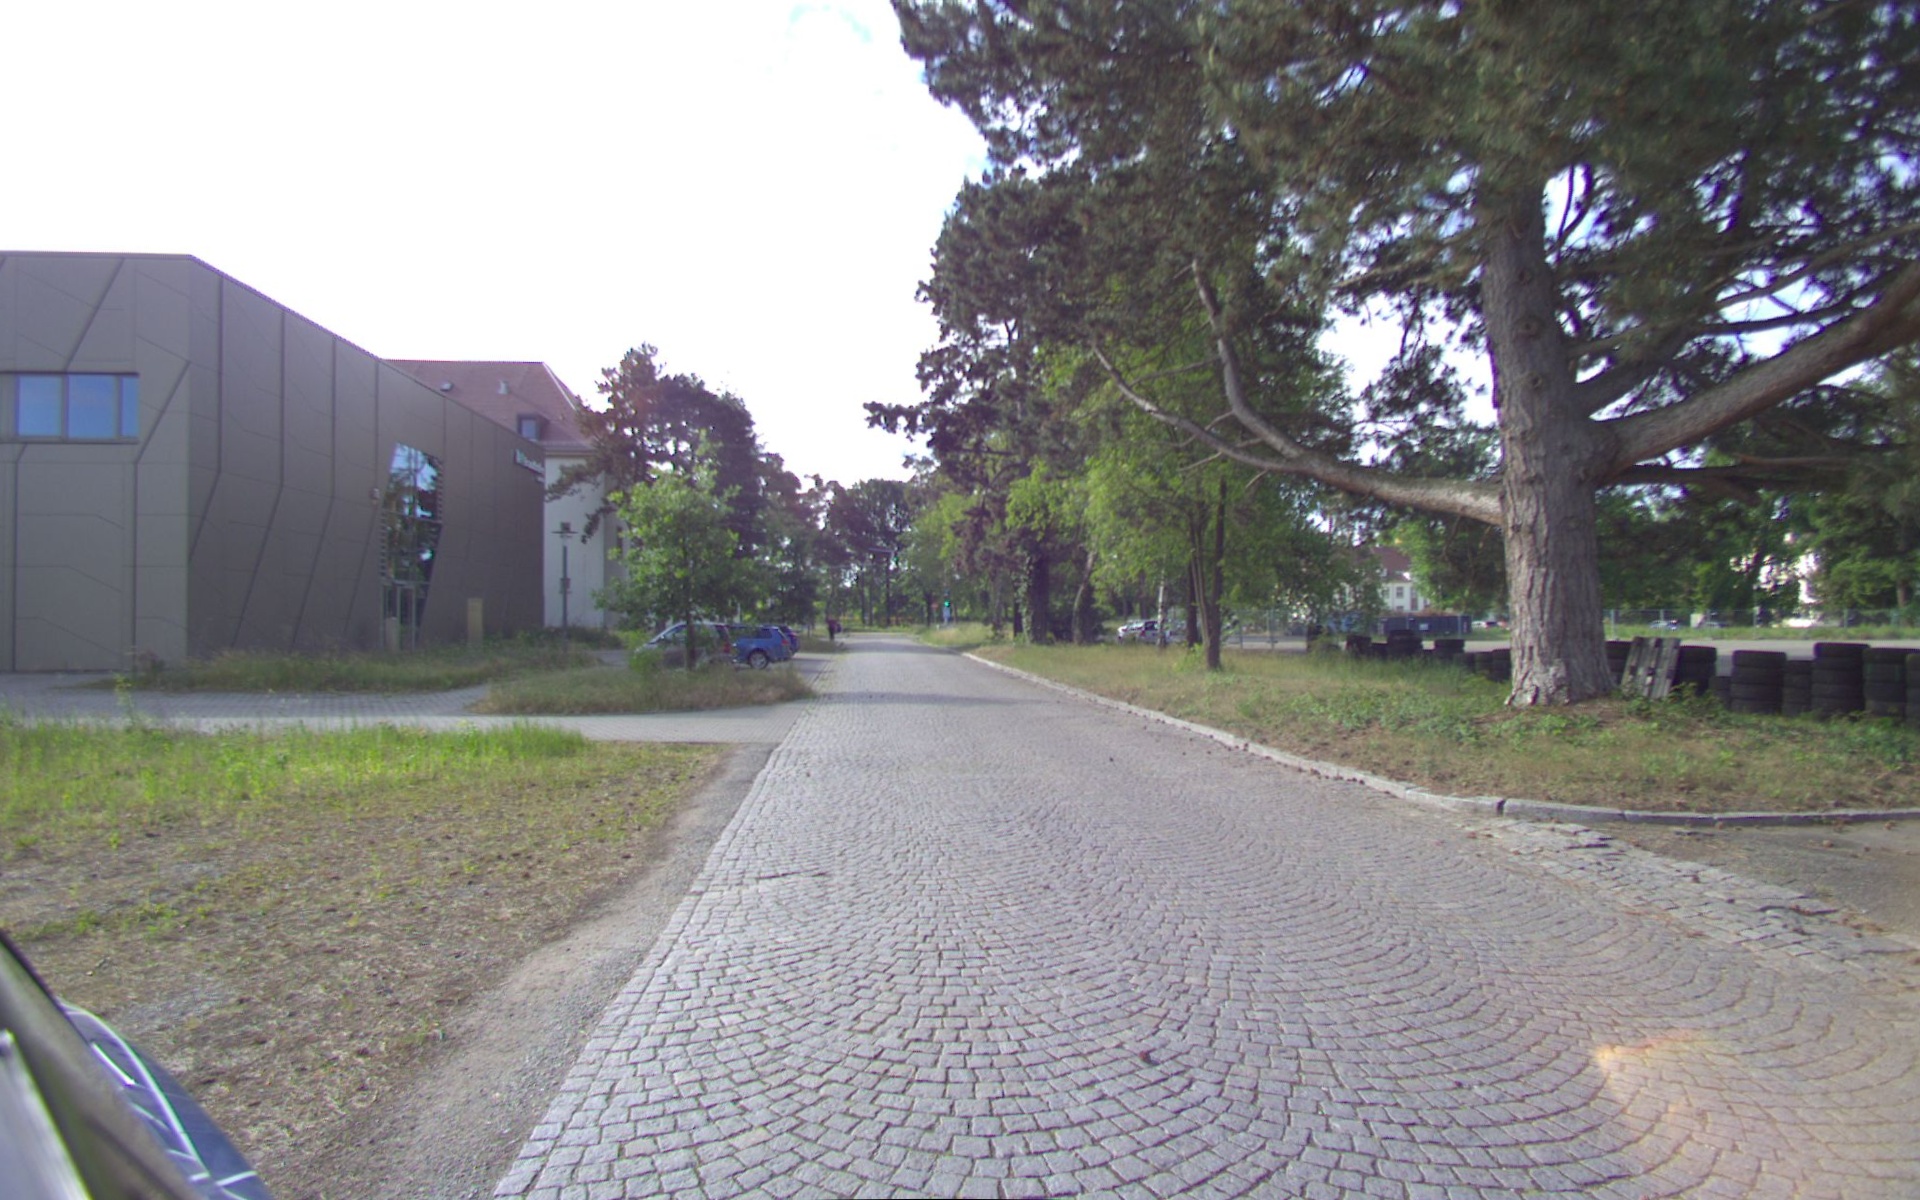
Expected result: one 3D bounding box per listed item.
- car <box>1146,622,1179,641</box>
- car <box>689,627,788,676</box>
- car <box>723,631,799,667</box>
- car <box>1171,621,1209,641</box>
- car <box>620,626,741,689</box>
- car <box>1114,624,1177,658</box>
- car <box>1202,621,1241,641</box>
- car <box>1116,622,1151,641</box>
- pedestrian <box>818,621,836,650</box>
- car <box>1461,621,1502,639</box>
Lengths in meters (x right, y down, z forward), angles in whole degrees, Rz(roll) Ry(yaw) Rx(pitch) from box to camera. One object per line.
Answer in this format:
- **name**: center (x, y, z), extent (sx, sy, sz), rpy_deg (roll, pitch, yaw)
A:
- **car**: center (17.544, 2.722, 87.653), extent (1.800, 1.630, 4.003), rpy_deg (0, -2, -4)
- **car**: center (-7.210, 1.669, 33.179), extent (3.044, 1.468, 1.495), rpy_deg (2, -2, -10)
- **car**: center (-8.335, 2.022, 42.424), extent (3.043, 1.461, 1.495), rpy_deg (0, -2, -11)
- **car**: center (20.009, 2.699, 88.150), extent (1.969, 1.630, 4.005), rpy_deg (0, -2, -5)
- **car**: center (-7.091, 1.446, 25.833), extent (2.729, 1.561, 1.425), rpy_deg (0, -2, -1)
- **car**: center (8.945, 1.968, 49.049), extent (1.862, 1.553, 4.006), rpy_deg (0, -2, -7)
- **car**: center (22.868, 2.710, 88.696), extent (1.969, 1.630, 4.005), rpy_deg (0, -2, -5)
- **car**: center (14.915, 2.706, 87.174), extent (1.969, 1.630, 4.005), rpy_deg (0, -2, -5)
- **pedestrian**: center (-8.748, 2.337, 66.512), extent (0.942, 1.858, 0.959), rpy_deg (0, -2, -19)
- **car**: center (52.592, 2.982, 102.154), extent (1.972, 1.763, 4.000), rpy_deg (0, -2, -1)
